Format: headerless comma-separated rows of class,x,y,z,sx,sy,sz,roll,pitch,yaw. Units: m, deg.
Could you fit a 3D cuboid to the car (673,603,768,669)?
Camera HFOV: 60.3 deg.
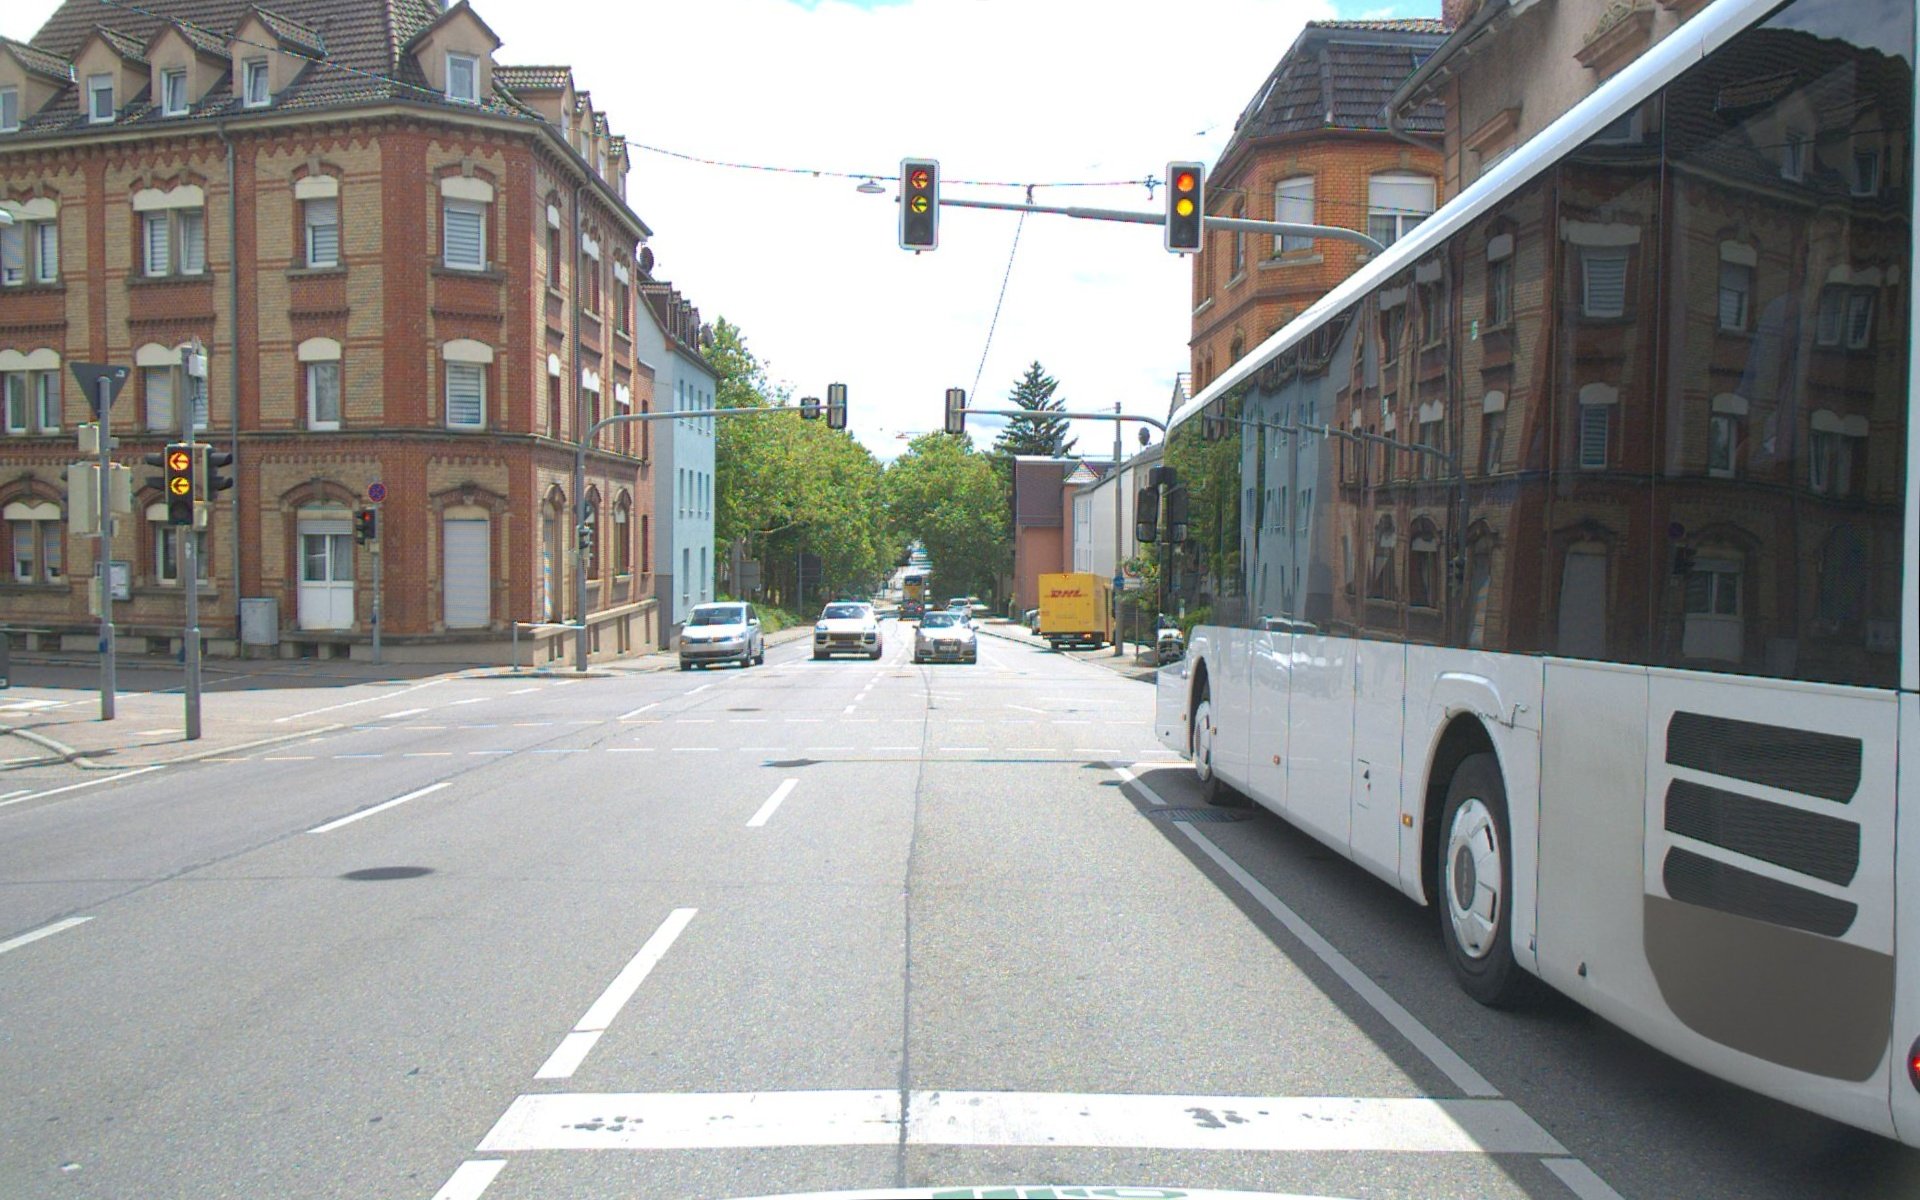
car,-6.188,0.893,43.214,1.896,1.591,4.388,0,0,-1

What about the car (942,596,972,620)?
car,-0.258,0.614,129.426,2.050,1.862,4.139,0,0,-4

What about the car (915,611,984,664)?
car,-0.310,1.020,46.627,1.827,1.391,4.546,0,0,-1

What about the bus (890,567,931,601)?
bus,-5.657,-1.797,187.355,3.239,3.694,11.222,-1,0,-9

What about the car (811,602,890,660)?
car,-3.266,0.900,50.194,2.162,1.641,4.546,0,0,-1

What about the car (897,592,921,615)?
car,-4.011,0.261,129.769,1.782,1.816,3.999,0,0,-1

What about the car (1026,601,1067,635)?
car,4.846,1.010,93.188,1.872,1.848,3.997,0,0,-3

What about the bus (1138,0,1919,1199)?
bus,3.212,-0.246,9.346,2.845,3.571,12.484,1,0,-1

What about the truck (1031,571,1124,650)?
truck,4.791,0.434,66.303,2.487,2.964,6.577,1,0,15

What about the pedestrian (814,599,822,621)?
pedestrian,-11.684,0.856,136.456,0.594,1.789,0.653,0,0,-2
